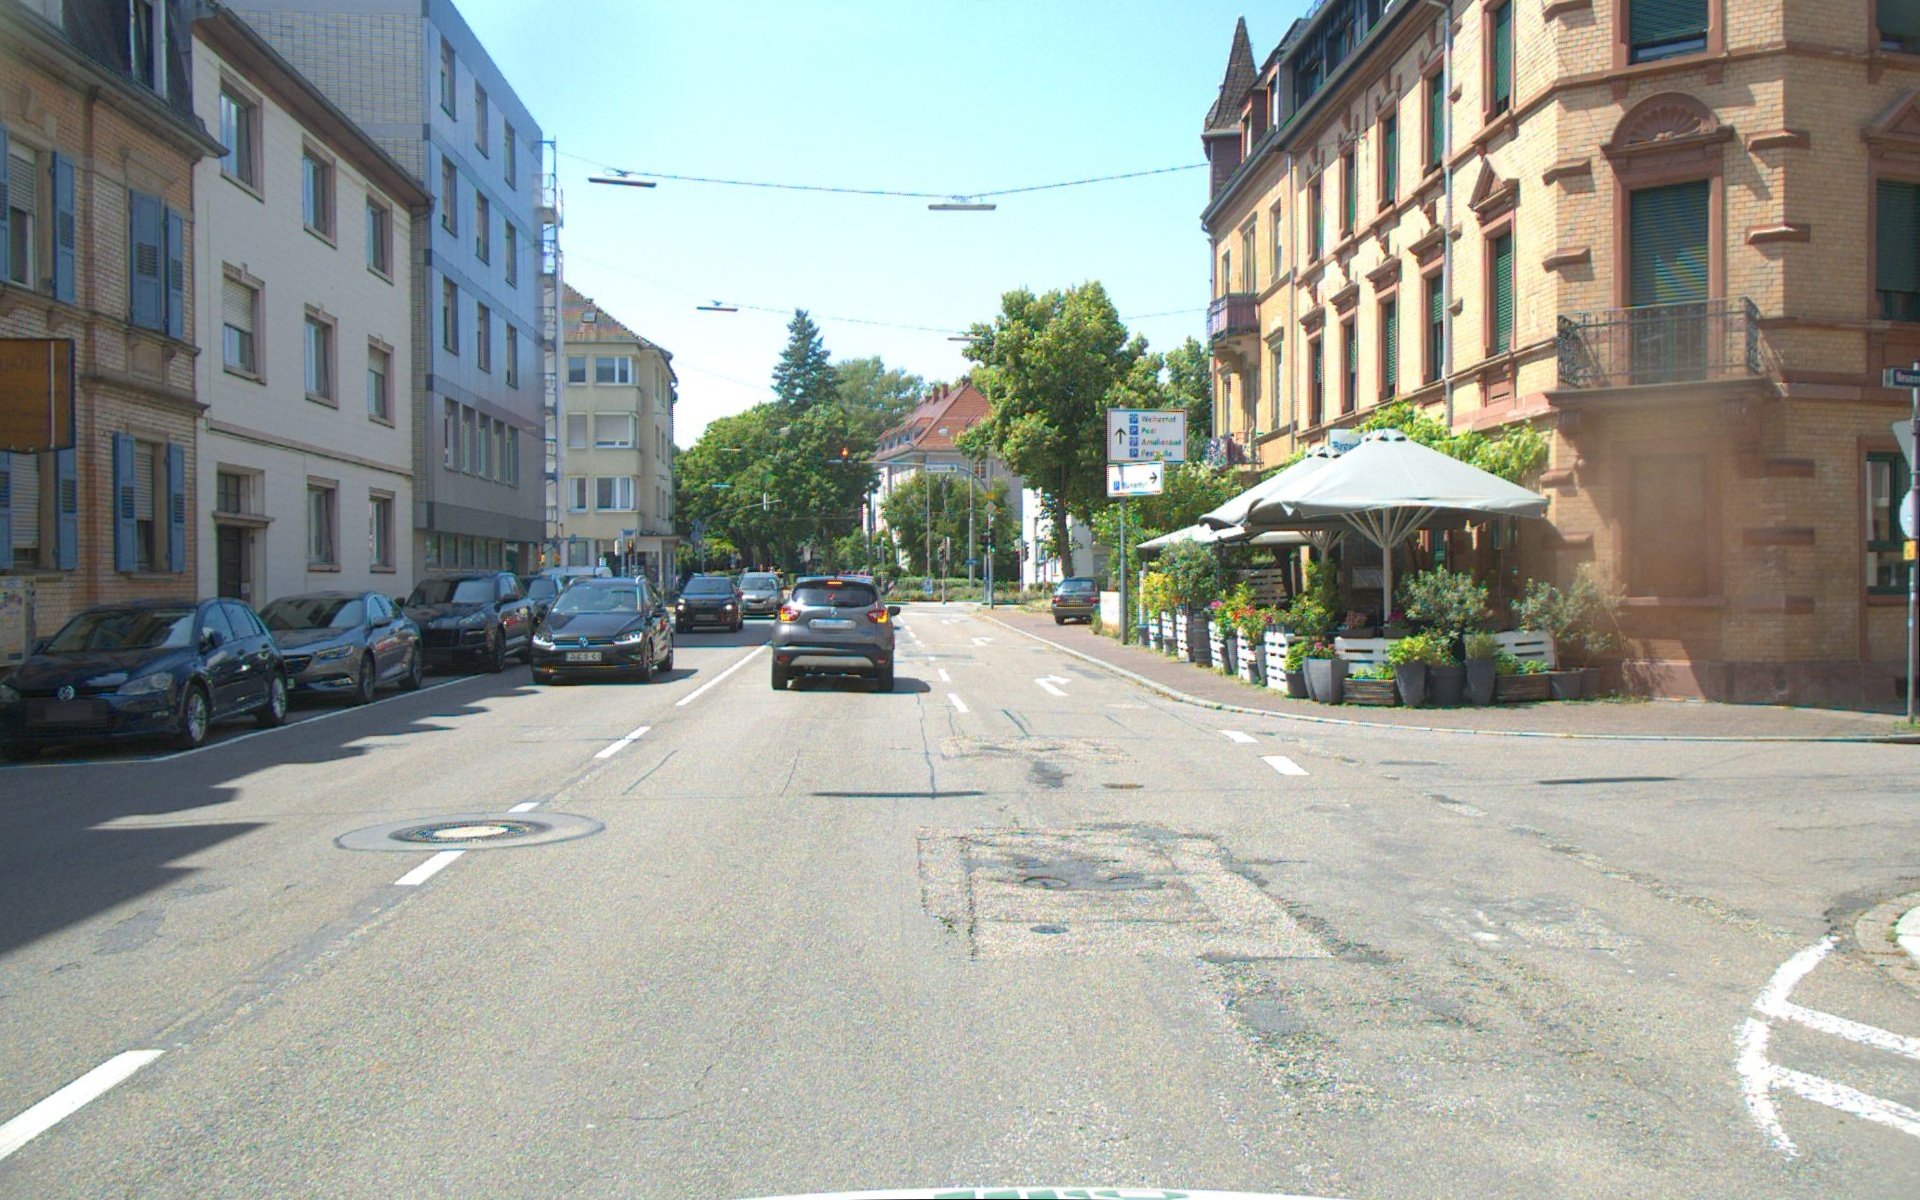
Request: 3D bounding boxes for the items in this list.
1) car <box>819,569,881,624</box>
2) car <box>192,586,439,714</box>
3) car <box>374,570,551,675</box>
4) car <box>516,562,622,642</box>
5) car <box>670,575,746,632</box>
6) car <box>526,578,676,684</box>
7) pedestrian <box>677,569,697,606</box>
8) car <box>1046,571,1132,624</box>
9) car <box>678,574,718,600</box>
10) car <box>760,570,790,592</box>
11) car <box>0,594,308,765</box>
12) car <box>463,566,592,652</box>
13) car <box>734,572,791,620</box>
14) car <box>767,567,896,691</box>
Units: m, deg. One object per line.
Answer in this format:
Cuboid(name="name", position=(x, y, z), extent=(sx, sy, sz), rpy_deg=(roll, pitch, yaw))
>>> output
Cuboid(name="car", position=(-3.323, -0.113, 50.526), extent=(1.763, 1.585, 4.035), rpy_deg=(1, 1, -3))
Cuboid(name="car", position=(-8.571, 0.589, 22.467), extent=(1.829, 1.431, 4.831), rpy_deg=(-4, 1, -6))
Cuboid(name="car", position=(-8.684, 0.340, 29.308), extent=(1.847, 1.669, 4.815), rpy_deg=(-1, 1, -3))
Cuboid(name="car", position=(-9.775, 0.031, 41.702), extent=(1.876, 1.857, 4.784), rpy_deg=(-1, 1, -5))
Cuboid(name="car", position=(-7.003, 0.069, 46.281), extent=(1.667, 1.503, 4.131), rpy_deg=(-1, 1, -3))
Cuboid(name="car", position=(-5.568, 0.421, 26.117), extent=(1.725, 1.520, 4.242), rpy_deg=(-1, 1, -4))
Cuboid(name="pedestrian", position=(-14.594, -0.668, 88.424), extent=(0.920, 1.965, 0.973), rpy_deg=(0, 0, -16))
Cuboid(name="car", position=(4.313, -0.128, 54.697), extent=(1.795, 1.575, 5.160), rpy_deg=(0, 2, 16))
Cuboid(name="car", position=(-16.499, -0.821, 104.125), extent=(1.962, 1.545, 3.981), rpy_deg=(1, 0, -17))
Cuboid(name="car", position=(-16.220, -1.640, 144.590), extent=(1.961, 1.839, 3.983), rpy_deg=(1, 1, -16))
Cuboid(name="car", position=(-8.295, 0.714, 16.980), extent=(1.829, 1.431, 4.324), rpy_deg=(-4, 1, -7))
Cuboid(name="car", position=(-9.173, 0.162, 35.439), extent=(1.848, 1.669, 4.658), rpy_deg=(-1, 1, -5))
Cuboid(name="car", position=(-6.910, -0.167, 58.113), extent=(1.667, 1.602, 4.310), rpy_deg=(-1, 1, -3))
Cuboid(name="car", position=(-1.832, 0.362, 24.401), extent=(1.719, 1.660, 3.998), rpy_deg=(1, 1, -3))
